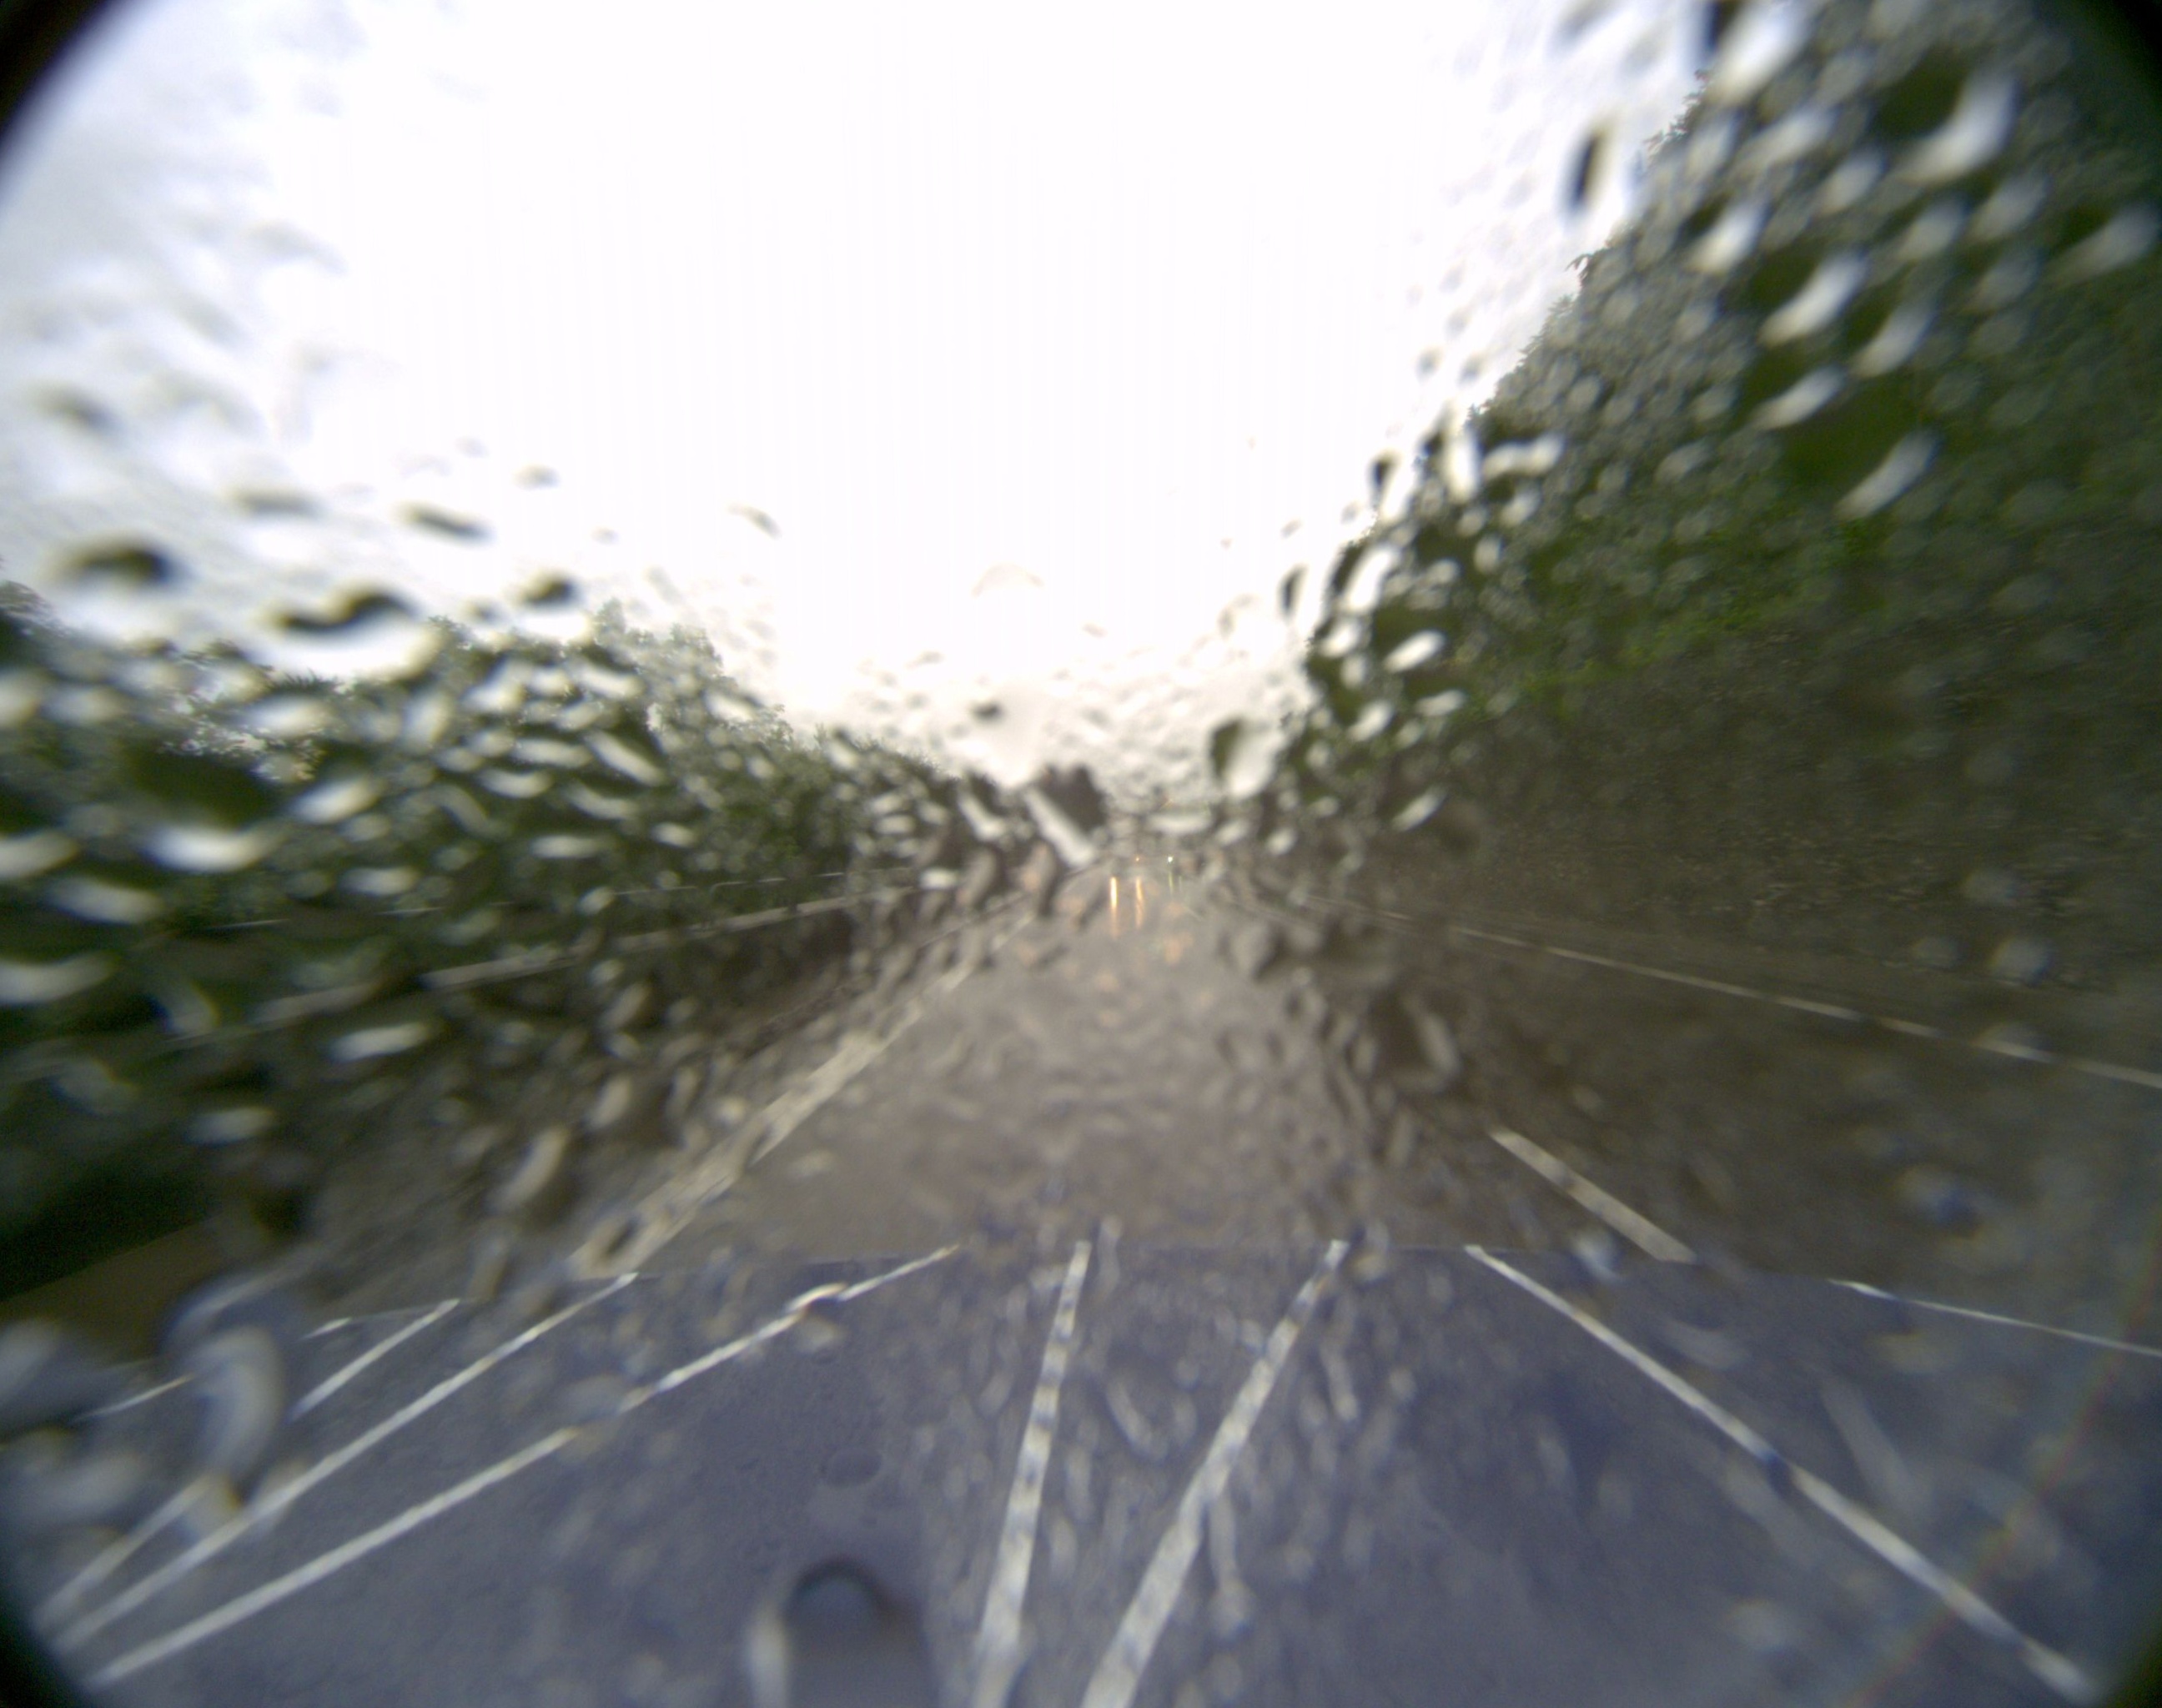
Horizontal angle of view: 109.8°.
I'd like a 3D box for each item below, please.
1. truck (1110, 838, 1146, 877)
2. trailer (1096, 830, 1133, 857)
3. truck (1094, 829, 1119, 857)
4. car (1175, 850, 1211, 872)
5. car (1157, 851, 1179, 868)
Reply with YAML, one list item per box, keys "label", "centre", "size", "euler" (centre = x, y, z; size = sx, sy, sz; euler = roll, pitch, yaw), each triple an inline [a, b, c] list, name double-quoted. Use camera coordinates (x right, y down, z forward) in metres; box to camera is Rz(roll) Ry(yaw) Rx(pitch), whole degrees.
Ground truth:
- label: "truck"
  centre: [3.398, 0.230, 53.398]
  size: [2.107, 2.481, 8.006]
  euler: [0, 0, 6]
- label: "trailer"
  centre: [5.856, -1.838, 129.577]
  size: [2.938, 4.280, 14.253]
  euler: [0, 1, 17]
- label: "truck"
  centre: [4.104, -1.786, 122.748]
  size: [2.808, 4.280, 6.471]
  euler: [-1, 1, 13]
- label: "car"
  centre: [7.341, 0.434, 50.128]
  size: [1.827, 1.375, 4.000]
  euler: [-2, 0, 2]
- label: "car"
  centre: [8.415, 0.521, 73.469]
  size: [1.826, 1.375, 4.002]
  euler: [-3, 1, 9]
